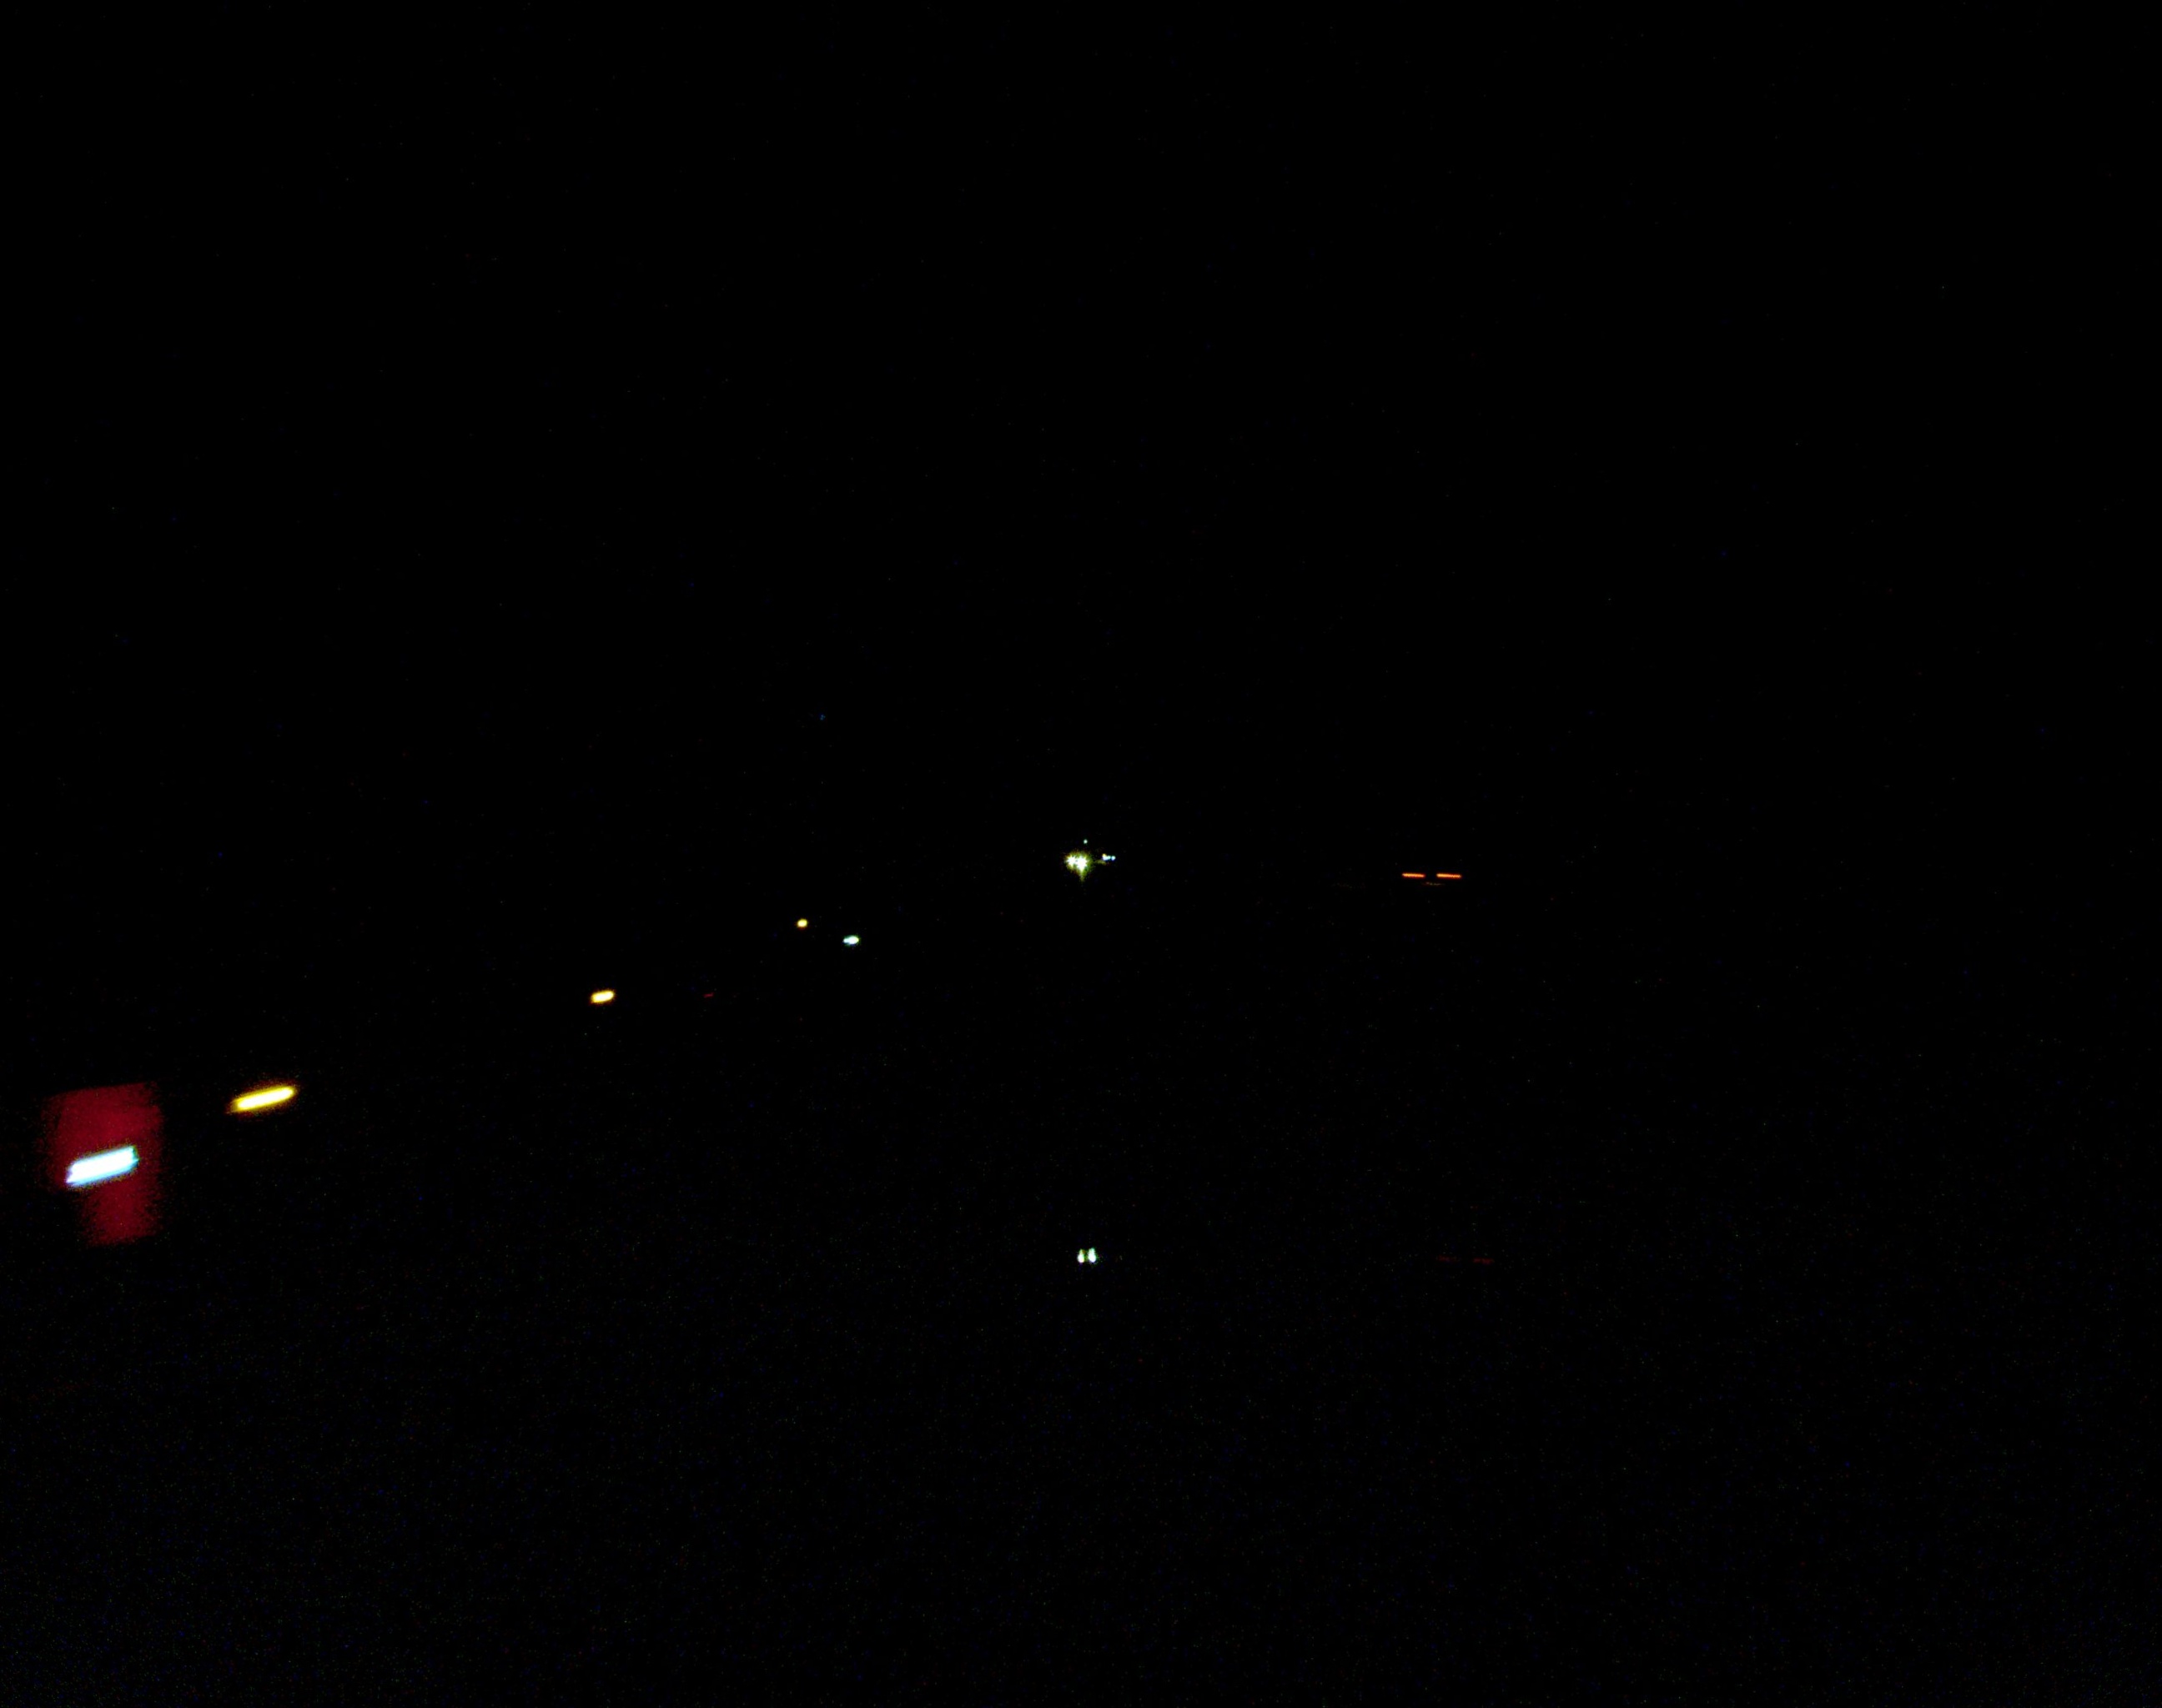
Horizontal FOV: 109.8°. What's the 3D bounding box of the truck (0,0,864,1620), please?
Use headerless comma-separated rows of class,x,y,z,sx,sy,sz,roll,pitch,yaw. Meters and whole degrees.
truck,-3.881,-0.249,1.866,2.694,4.083,13.139,-2,1,0

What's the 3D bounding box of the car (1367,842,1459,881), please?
car,12.223,0.247,28.244,1.609,1.322,3.938,1,1,-1

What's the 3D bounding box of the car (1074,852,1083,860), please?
car,-0.466,0.363,143.974,1.570,1.336,4.166,-2,0,-1
